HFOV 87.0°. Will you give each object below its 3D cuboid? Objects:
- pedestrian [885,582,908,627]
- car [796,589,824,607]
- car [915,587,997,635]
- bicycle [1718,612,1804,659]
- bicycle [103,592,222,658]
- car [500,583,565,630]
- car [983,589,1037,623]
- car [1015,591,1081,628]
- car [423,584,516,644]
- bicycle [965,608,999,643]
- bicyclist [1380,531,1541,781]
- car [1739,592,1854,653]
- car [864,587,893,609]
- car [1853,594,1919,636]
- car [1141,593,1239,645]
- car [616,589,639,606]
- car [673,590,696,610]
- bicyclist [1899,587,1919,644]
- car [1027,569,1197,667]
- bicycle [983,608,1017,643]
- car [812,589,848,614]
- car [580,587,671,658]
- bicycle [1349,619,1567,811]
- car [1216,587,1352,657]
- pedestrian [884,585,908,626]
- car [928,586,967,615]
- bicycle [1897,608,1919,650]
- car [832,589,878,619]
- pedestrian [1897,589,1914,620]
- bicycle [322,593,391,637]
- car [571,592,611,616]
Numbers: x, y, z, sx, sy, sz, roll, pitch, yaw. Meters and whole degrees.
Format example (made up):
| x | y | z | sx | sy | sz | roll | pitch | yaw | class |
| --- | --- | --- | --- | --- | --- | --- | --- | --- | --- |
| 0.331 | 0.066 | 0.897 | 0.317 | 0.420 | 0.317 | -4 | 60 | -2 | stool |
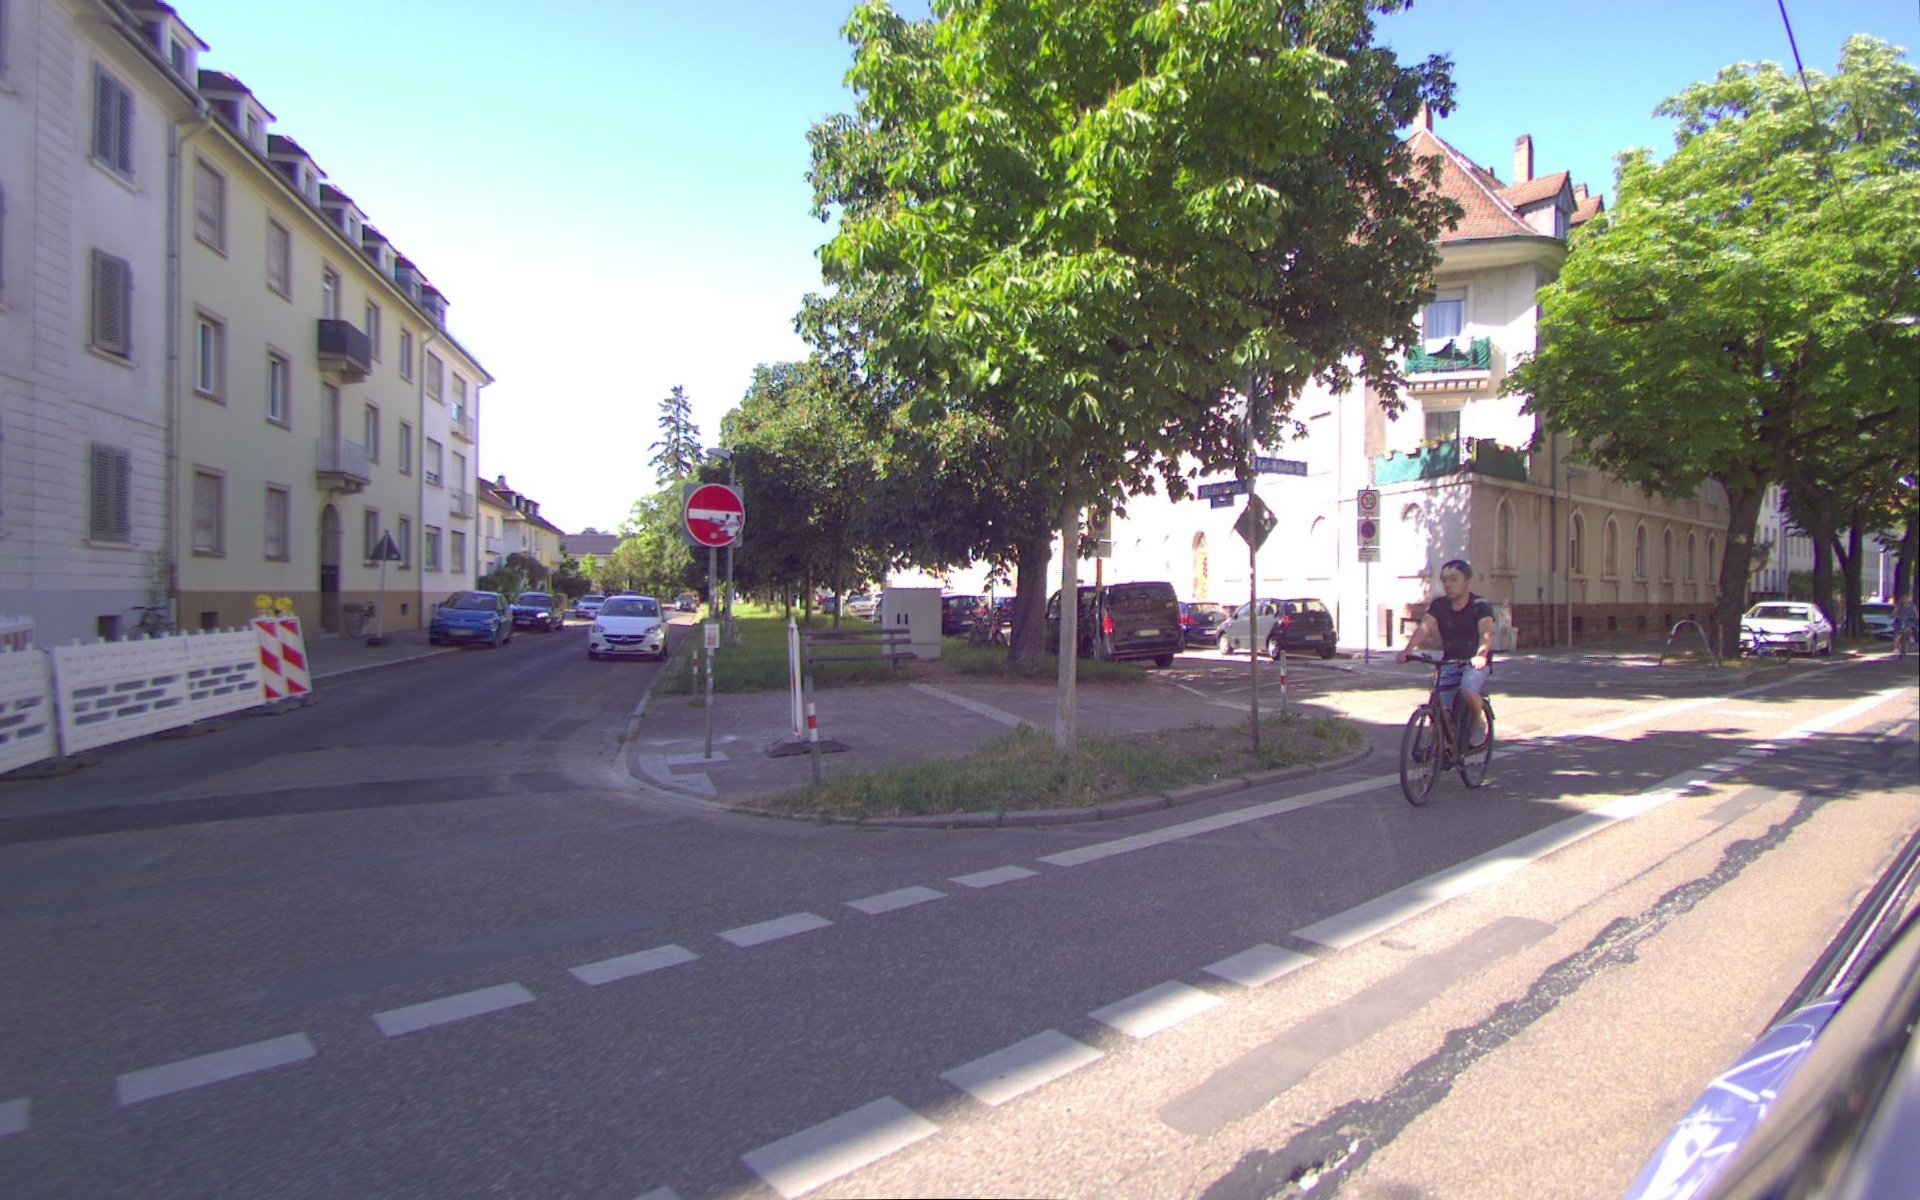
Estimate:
| x | y | z | sx | sy | sz | roll | pitch | yaw | class |
| --- | --- | --- | --- | --- | --- | --- | --- | --- | --- |
| -2.635 | 0.177 | 41.760 | 0.826 | 1.865 | 0.575 | 0 | 0 | -16 | pedestrian |
| -14.003 | -0.213 | 94.199 | 1.958 | 1.651 | 5.077 | -2 | 1 | -15 | car |
| -0.235 | 0.355 | 37.555 | 1.895 | 1.629 | 4.629 | -2 | 1 | -15 | car |
| 18.917 | 0.823 | 23.911 | 1.564 | 0.992 | 0.631 | 2 | 1 | 41 | bicycle |
| -15.228 | 0.440 | 19.446 | 0.514 | 1.127 | 3.119 | 4 | 0 | -14 | bicycle |
| -16.775 | 0.224 | 39.847 | 1.749 | 1.674 | 3.878 | 3 | 0 | -15 | car |
| 2.345 | 0.258 | 48.393 | 1.605 | 1.519 | 3.776 | -1 | 1 | -13 | car |
| 3.622 | 0.373 | 42.399 | 1.605 | 1.434 | 3.970 | -1 | 1 | -13 | car |
| -14.242 | 0.370 | 29.611 | 1.805 | 1.566 | 3.879 | 3 | 0 | -17 | car |
| 0.508 | 0.597 | 24.072 | 0.410 | 0.768 | 1.386 | 0 | 0 | -16 | bicycle |
| 3.846 | 0.396 | 7.768 | 1.028 | 1.761 | 0.762 | 0 | -1 | -41 | bicyclist |
| 22.721 | 0.557 | 27.452 | 4.140 | 1.490 | 1.705 | 0 | 2 | -41 | car |
| -6.927 | -0.166 | 85.789 | 1.746 | 1.740 | 4.051 | -3 | 1 | -13 | car |
| 36.258 | 0.539 | 39.376 | 4.670 | 1.502 | 1.821 | 0 | 2 | -44 | car |
| 6.792 | 0.513 | 30.221 | 1.539 | 1.415 | 3.366 | -1 | 1 | -13 | car |
| -30.781 | -0.272 | 93.699 | 1.749 | 1.415 | 3.878 | 3 | 0 | -15 | car |
| -22.787 | -0.036 | 83.766 | 1.749 | 1.505 | 3.980 | 3 | 0 | -15 | car |
| 26.005 | 0.413 | 27.413 | 1.209 | 1.533 | 0.775 | 0 | 0 | -44 | bicyclist |
| 3.271 | 0.333 | 23.042 | 1.958 | 1.914 | 5.077 | -2 | 1 | -15 | car |
| 0.943 | 0.599 | 24.181 | 0.410 | 0.787 | 1.386 | 0 | 1 | -16 | bicycle |
| -9.482 | 0.088 | 73.463 | 1.958 | 1.651 | 5.077 | -2 | 1 | -15 | car |
| -7.908 | 0.476 | 24.211 | 1.749 | 1.505 | 3.980 | 3 | 0 | -15 | car |
| 3.869 | 0.792 | 7.781 | 2.059 | 1.258 | 0.762 | 0 | -1 | -41 | bicycle |
| 8.113 | 0.492 | 25.656 | 1.687 | 1.557 | 3.447 | -3 | 1 | -13 | car |
| -2.558 | 0.212 | 40.162 | 0.826 | 1.588 | 0.575 | 0 | 0 | -17 | pedestrian |
| -0.802 | -0.006 | 62.432 | 1.605 | 1.694 | 3.865 | -1 | 1 | -13 | car |
| 26.025 | 0.775 | 27.445 | 2.024 | 1.100 | 0.775 | 0 | 0 | -44 | bicycle |
| -6.344 | 0.179 | 60.598 | 1.958 | 1.651 | 5.077 | -2 | 1 | -15 | car |
| 61.734 | 0.293 | 66.083 | 0.740 | 2.039 | 0.678 | 1 | 0 | 41 | pedestrian |
| -17.560 | 0.390 | 29.550 | 0.750 | 1.171 | 4.009 | 0 | 1 | -16 | bicycle |
| -21.535 | 0.209 | 59.151 | 1.770 | 1.236 | 3.878 | 3 | 0 | -15 | car |
